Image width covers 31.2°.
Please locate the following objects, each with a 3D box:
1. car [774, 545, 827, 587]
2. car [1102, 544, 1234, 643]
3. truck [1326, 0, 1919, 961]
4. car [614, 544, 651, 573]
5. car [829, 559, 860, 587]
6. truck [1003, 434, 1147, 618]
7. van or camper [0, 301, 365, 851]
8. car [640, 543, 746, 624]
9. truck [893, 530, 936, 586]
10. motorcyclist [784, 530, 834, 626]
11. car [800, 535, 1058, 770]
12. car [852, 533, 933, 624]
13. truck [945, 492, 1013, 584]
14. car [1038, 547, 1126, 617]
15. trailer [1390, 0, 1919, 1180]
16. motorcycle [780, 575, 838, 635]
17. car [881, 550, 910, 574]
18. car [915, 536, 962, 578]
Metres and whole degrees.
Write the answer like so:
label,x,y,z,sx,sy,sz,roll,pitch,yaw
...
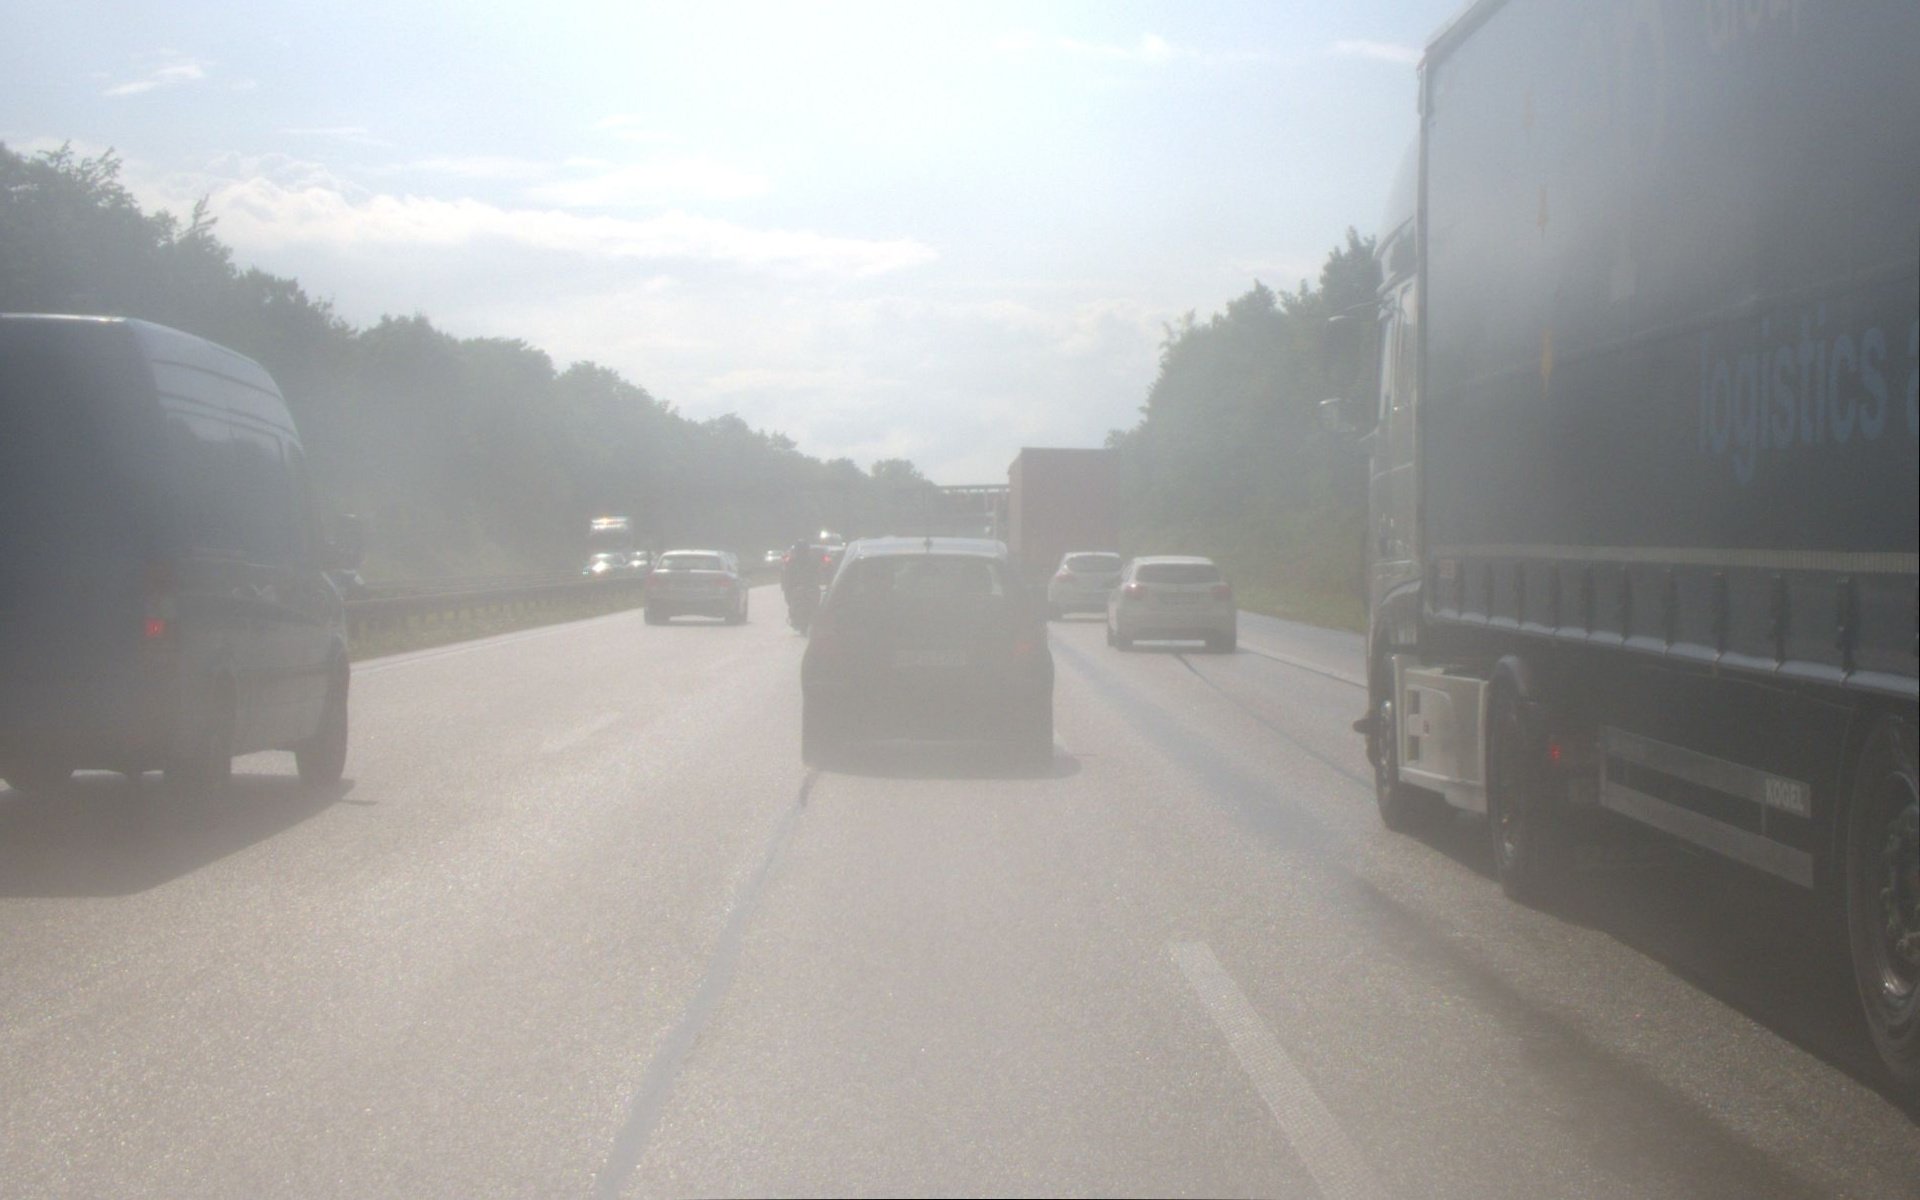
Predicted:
label,x,y,z,sx,sy,sz,roll,pitch,yaw
car,-5.708,-1.208,123.085,1.751,1.452,3.390,1,1,-1
car,3.137,-0.116,52.548,1.692,1.420,4.220,1,1,-1
truck,3.519,-0.679,16.495,2.606,3.982,7.291,1,1,-1
car,-19.574,-2.482,205.719,1.828,1.657,4.631,1,1,-1
car,-5.866,-1.393,175.440,1.485,1.385,3.198,1,1,-1
truck,3.130,-2.000,97.353,3.650,4.704,16.778,1,1,1
van or camper,-4.803,-0.150,19.383,1.993,2.659,5.385,1,1,-1
car,-5.292,-0.333,68.405,1.854,1.546,3.485,1,1,-1
truck,-2.361,-2.191,180.522,2.192,2.865,4.850,1,1,-1
motorcyclist,-2.606,-0.377,59.354,0.801,1.627,1.013,1,0,-1
car,-0.231,0.335,24.892,1.717,1.562,3.485,1,1,-1
car,-1.329,-0.435,68.413,1.531,1.740,3.485,1,1,-1
truck,1.019,-3.091,174.589,3.256,4.464,12.421,1,1,1
car,2.597,-0.402,73.635,1.680,1.437,3.905,1,1,-1
trailer,3.600,-0.614,10.263,2.634,3.982,14.065,1,1,-1
motorcycle,-2.599,0.078,59.389,0.890,0.997,2.896,1,1,-1
car,-4.537,-2.668,241.779,1.993,1.695,4.000,0,1,0
car,-0.726,-1.453,116.427,1.552,1.378,3.210,1,1,-1
